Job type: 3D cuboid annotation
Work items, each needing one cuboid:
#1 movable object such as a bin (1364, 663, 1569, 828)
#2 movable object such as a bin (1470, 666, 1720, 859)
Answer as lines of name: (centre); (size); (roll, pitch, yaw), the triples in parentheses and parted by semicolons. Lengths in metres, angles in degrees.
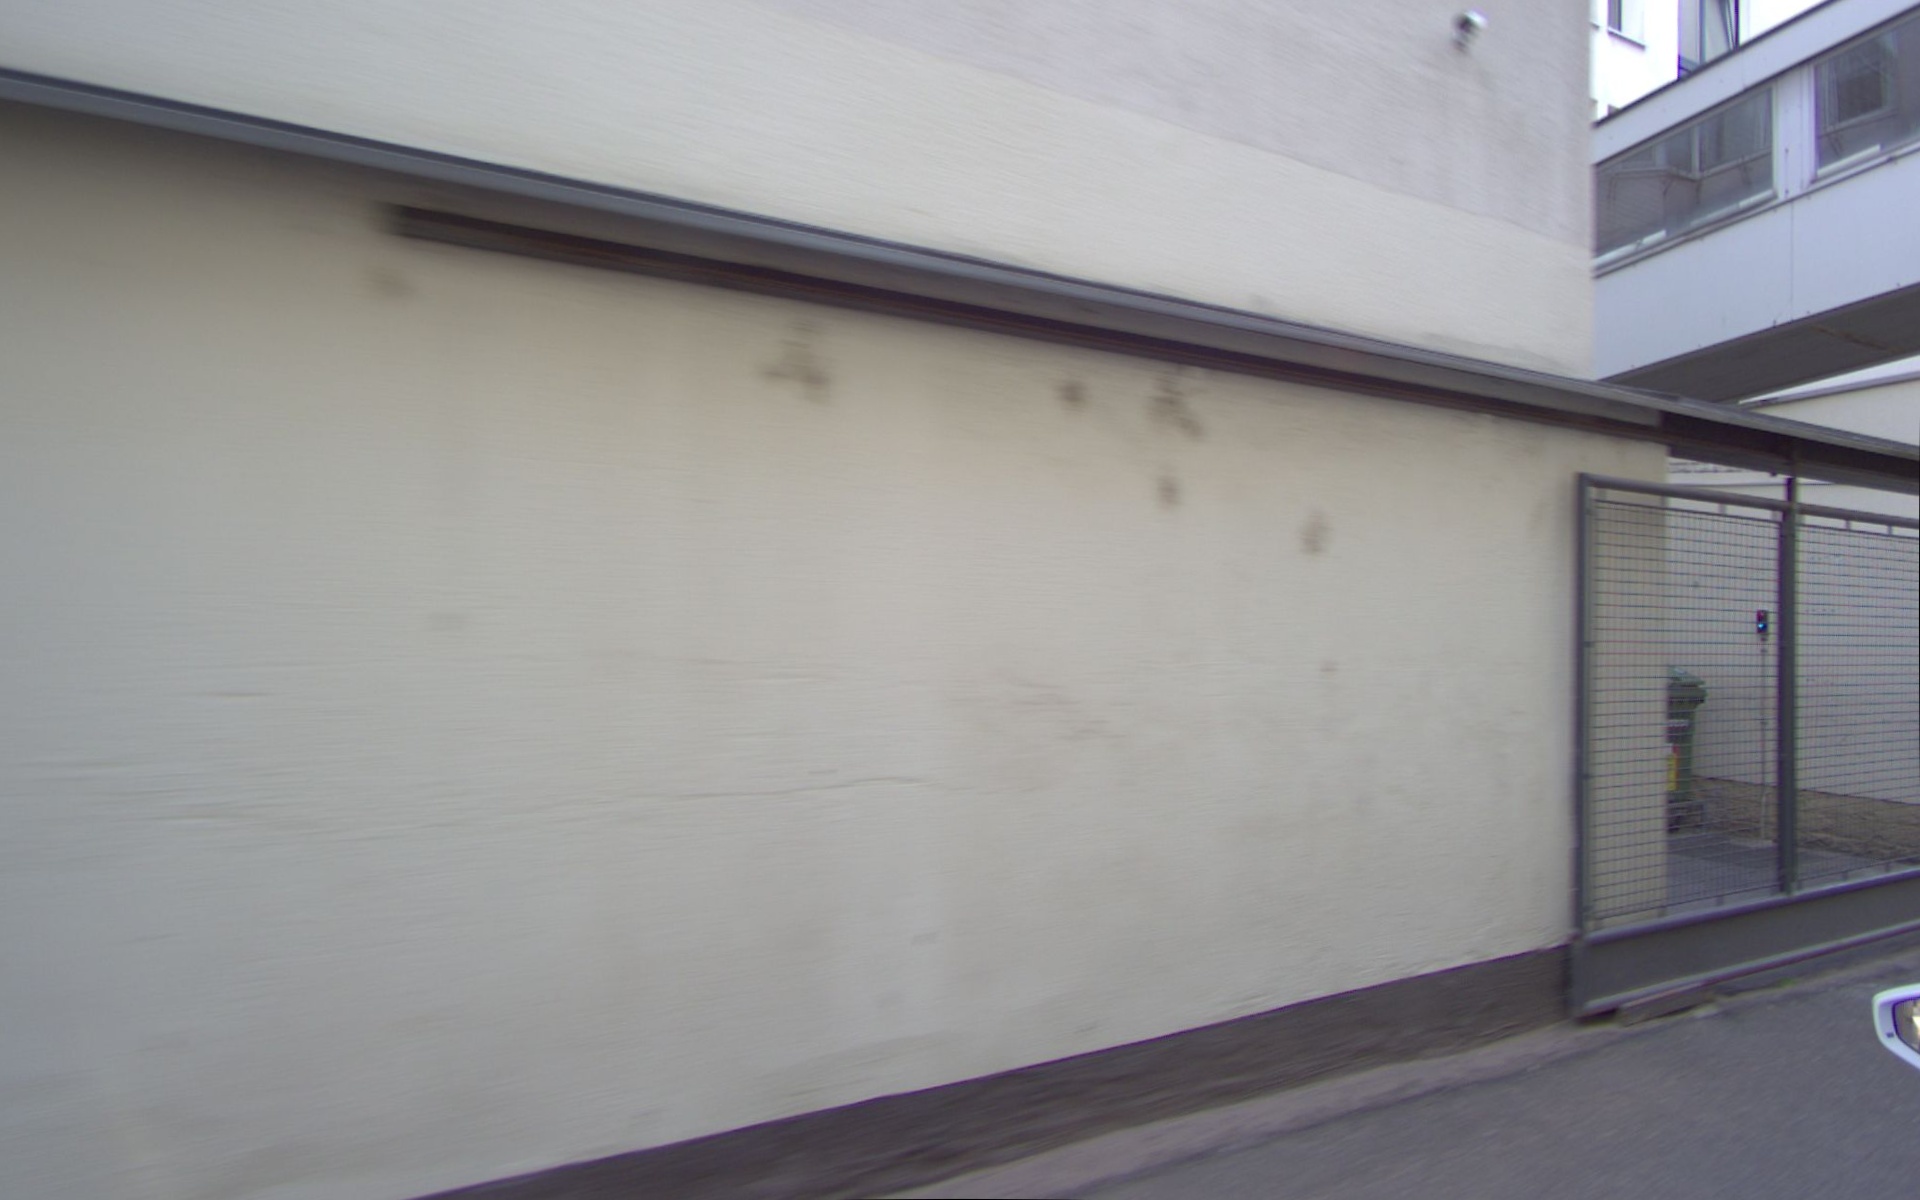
movable object such as a bin: (4.974, 1.368, 9.896); (1.567, 1.443, 1.068); (2, -1, -25)
movable object such as a bin: (5.477, 1.325, 8.702); (1.567, 1.443, 1.177); (2, -1, -25)
